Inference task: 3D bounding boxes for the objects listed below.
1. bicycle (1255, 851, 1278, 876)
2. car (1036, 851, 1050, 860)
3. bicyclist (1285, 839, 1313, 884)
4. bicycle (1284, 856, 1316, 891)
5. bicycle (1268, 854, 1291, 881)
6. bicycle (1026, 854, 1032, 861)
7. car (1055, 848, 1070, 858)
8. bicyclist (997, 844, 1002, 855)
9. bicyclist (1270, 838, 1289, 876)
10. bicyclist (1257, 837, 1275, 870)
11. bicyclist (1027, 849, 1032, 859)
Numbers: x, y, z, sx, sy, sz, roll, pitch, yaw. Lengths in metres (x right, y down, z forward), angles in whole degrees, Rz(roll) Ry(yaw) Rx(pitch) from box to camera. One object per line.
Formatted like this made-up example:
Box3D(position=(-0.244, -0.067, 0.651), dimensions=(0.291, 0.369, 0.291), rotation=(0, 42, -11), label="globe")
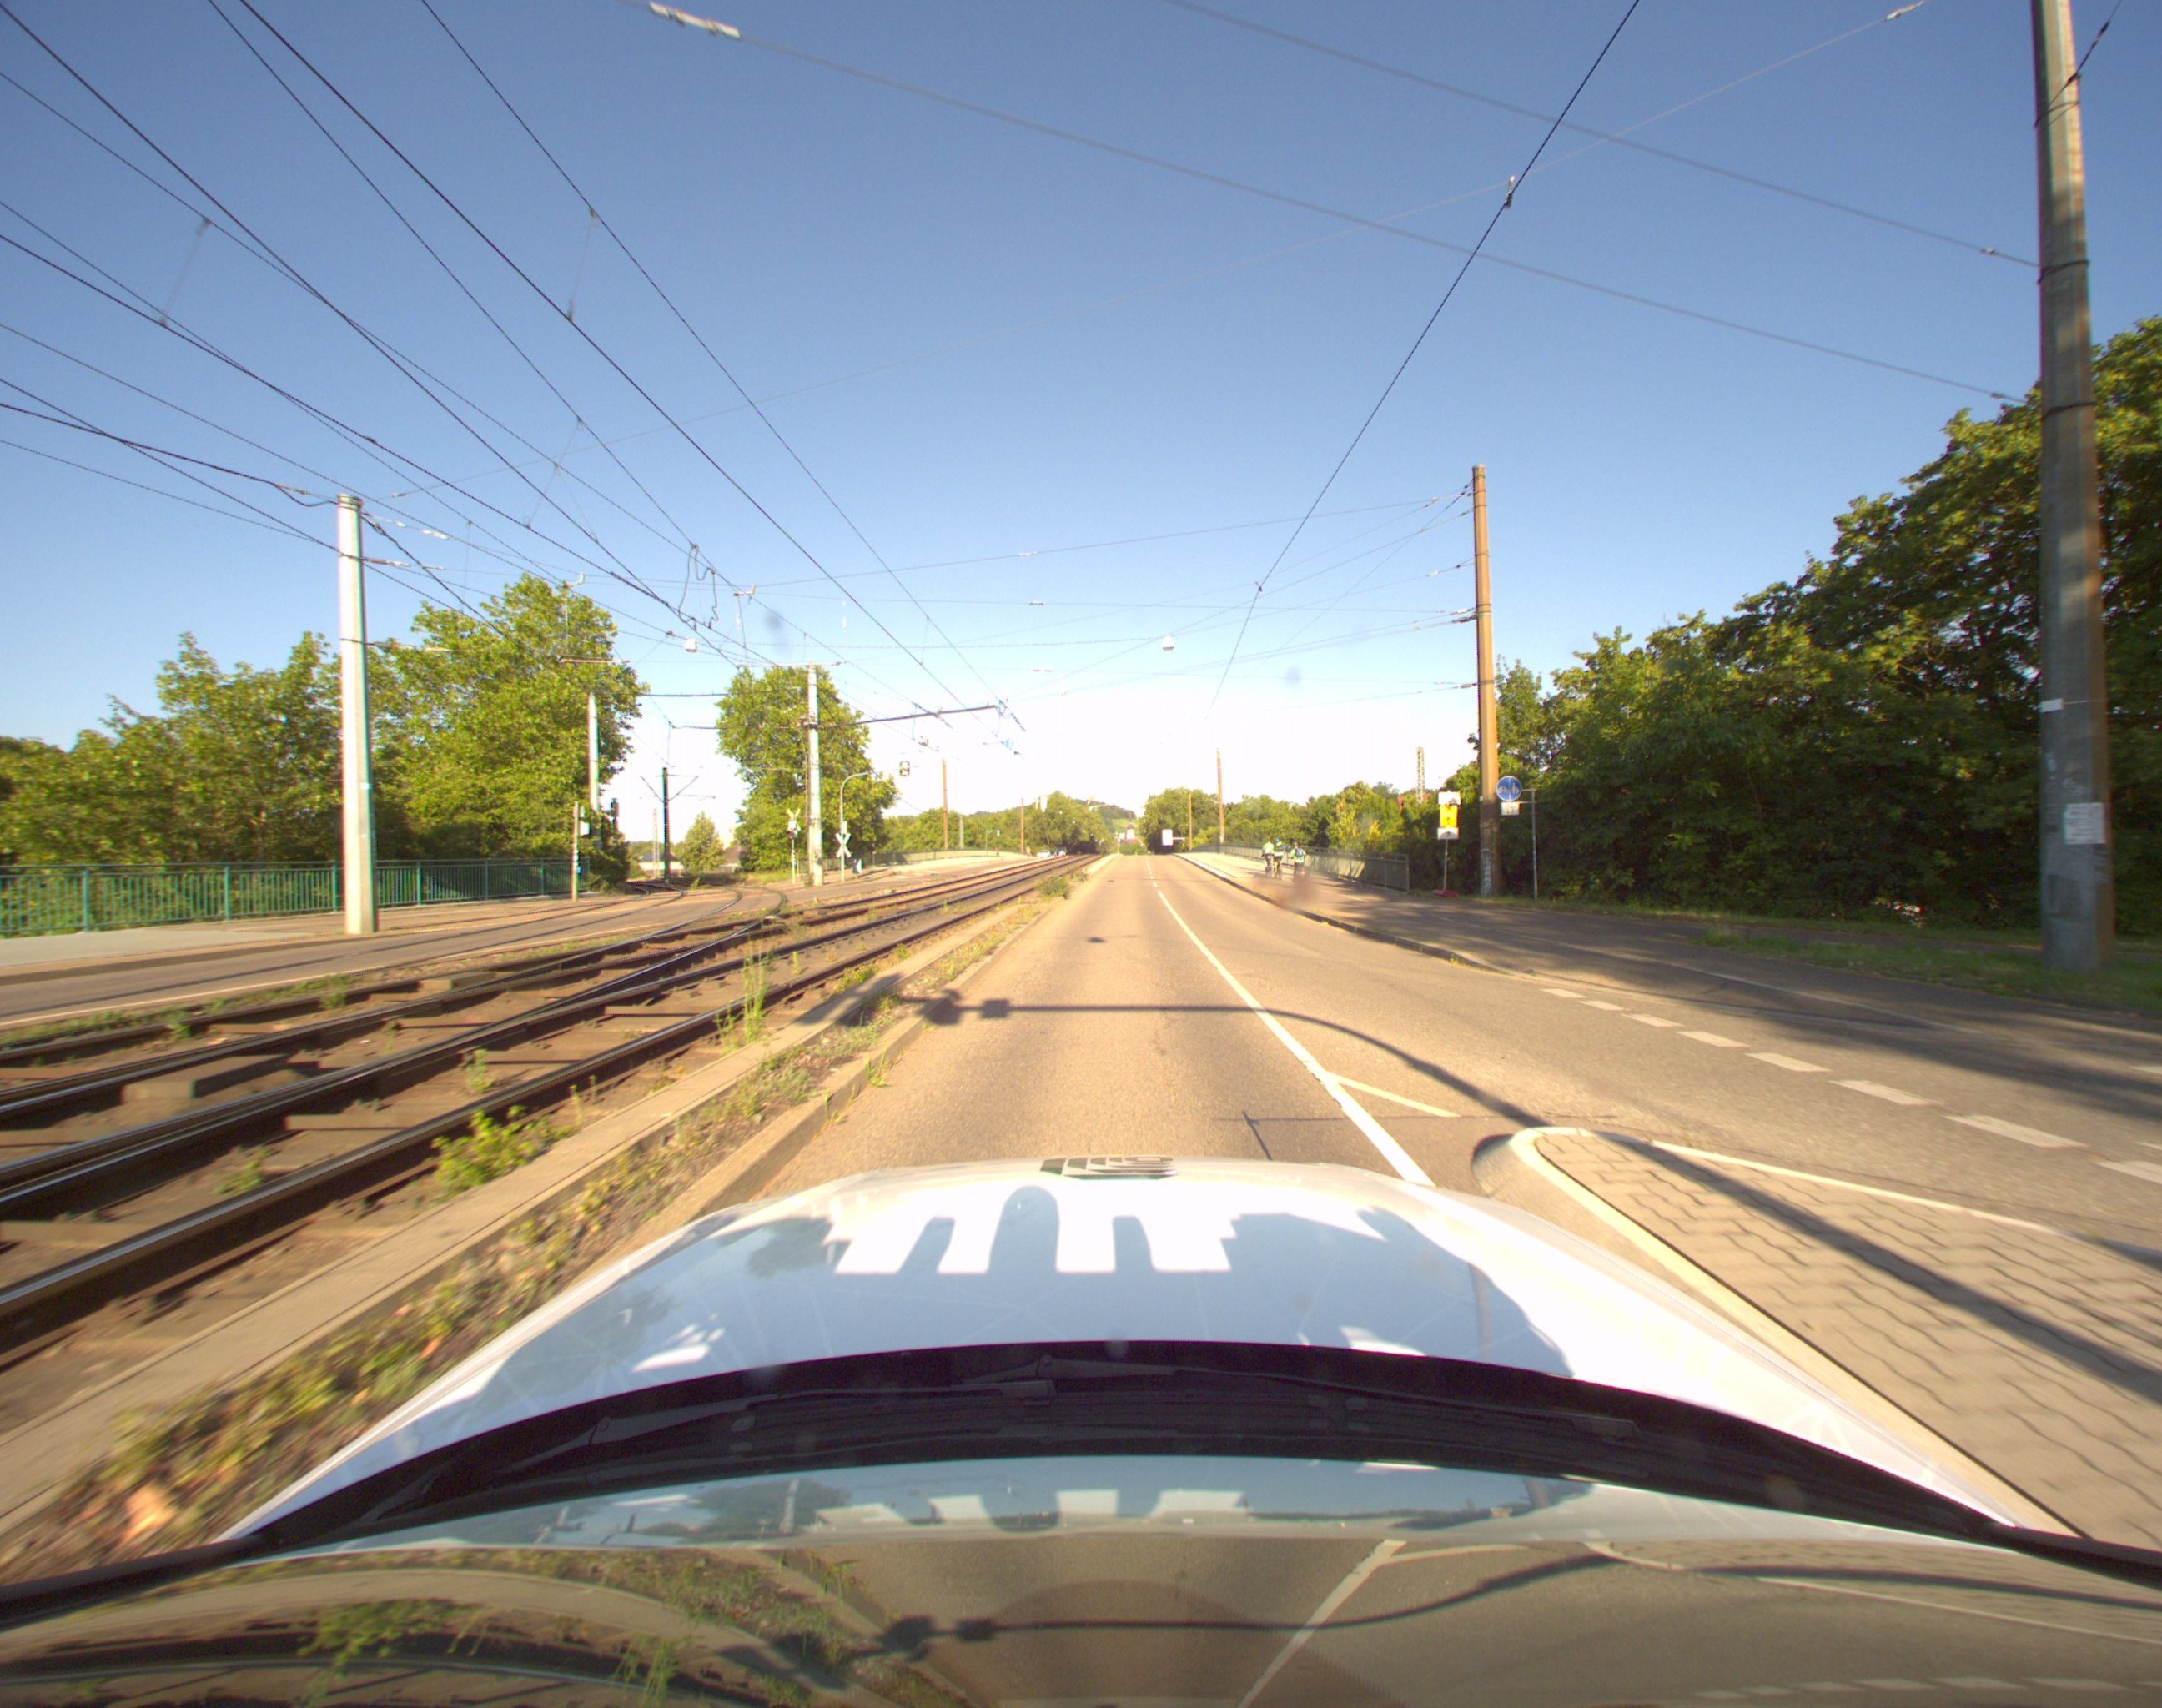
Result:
Box3D(position=(8.565, 0.429, 37.626), dimensions=(0.622, 1.122, 2.261), rotation=(-1, 0, 2), label="bicycle")
Box3D(position=(-6.026, 0.208, 129.130), dimensions=(1.676, 1.356, 4.925), rotation=(-1, 0, 4), label="car")
Box3D(position=(7.724, 0.266, 28.860), dimensions=(0.808, 1.562, 0.897), rotation=(-1, 1, 3), label="bicyclist")
Box3D(position=(7.740, 0.675, 28.884), dimensions=(0.680, 1.122, 2.219), rotation=(-1, 1, 4), label="bicycle")
Box3D(position=(8.400, 0.554, 34.536), dimensions=(0.622, 1.122, 2.044), rotation=(-1, 0, 4), label="bicycle")
Box3D(position=(-8.519, 0.497, 133.756), dimensions=(0.622, 1.122, 2.264), rotation=(-1, 0, 7), label="bicycle")
Box3D(position=(-2.794, -0.130, 123.050), dimensions=(1.840, 1.502, 4.224), rotation=(-1, 0, 4), label="car")
Box3D(position=(-10.834, -0.566, 108.172), dimensions=(0.622, 1.432, 0.969), rotation=(-1, 0, 2), label="bicyclist")
Box3D(position=(8.433, 0.116, 34.551), dimensions=(0.622, 1.592, 0.932), rotation=(-1, 0, 4), label="bicyclist")
Box3D(position=(8.558, -0.032, 37.664), dimensions=(0.622, 1.508, 1.006), rotation=(-1, 0, 2), label="bicyclist")
Box3D(position=(-8.516, -0.043, 133.837), dimensions=(0.622, 1.633, 0.937), rotation=(-1, 0, 7), label="bicyclist")
